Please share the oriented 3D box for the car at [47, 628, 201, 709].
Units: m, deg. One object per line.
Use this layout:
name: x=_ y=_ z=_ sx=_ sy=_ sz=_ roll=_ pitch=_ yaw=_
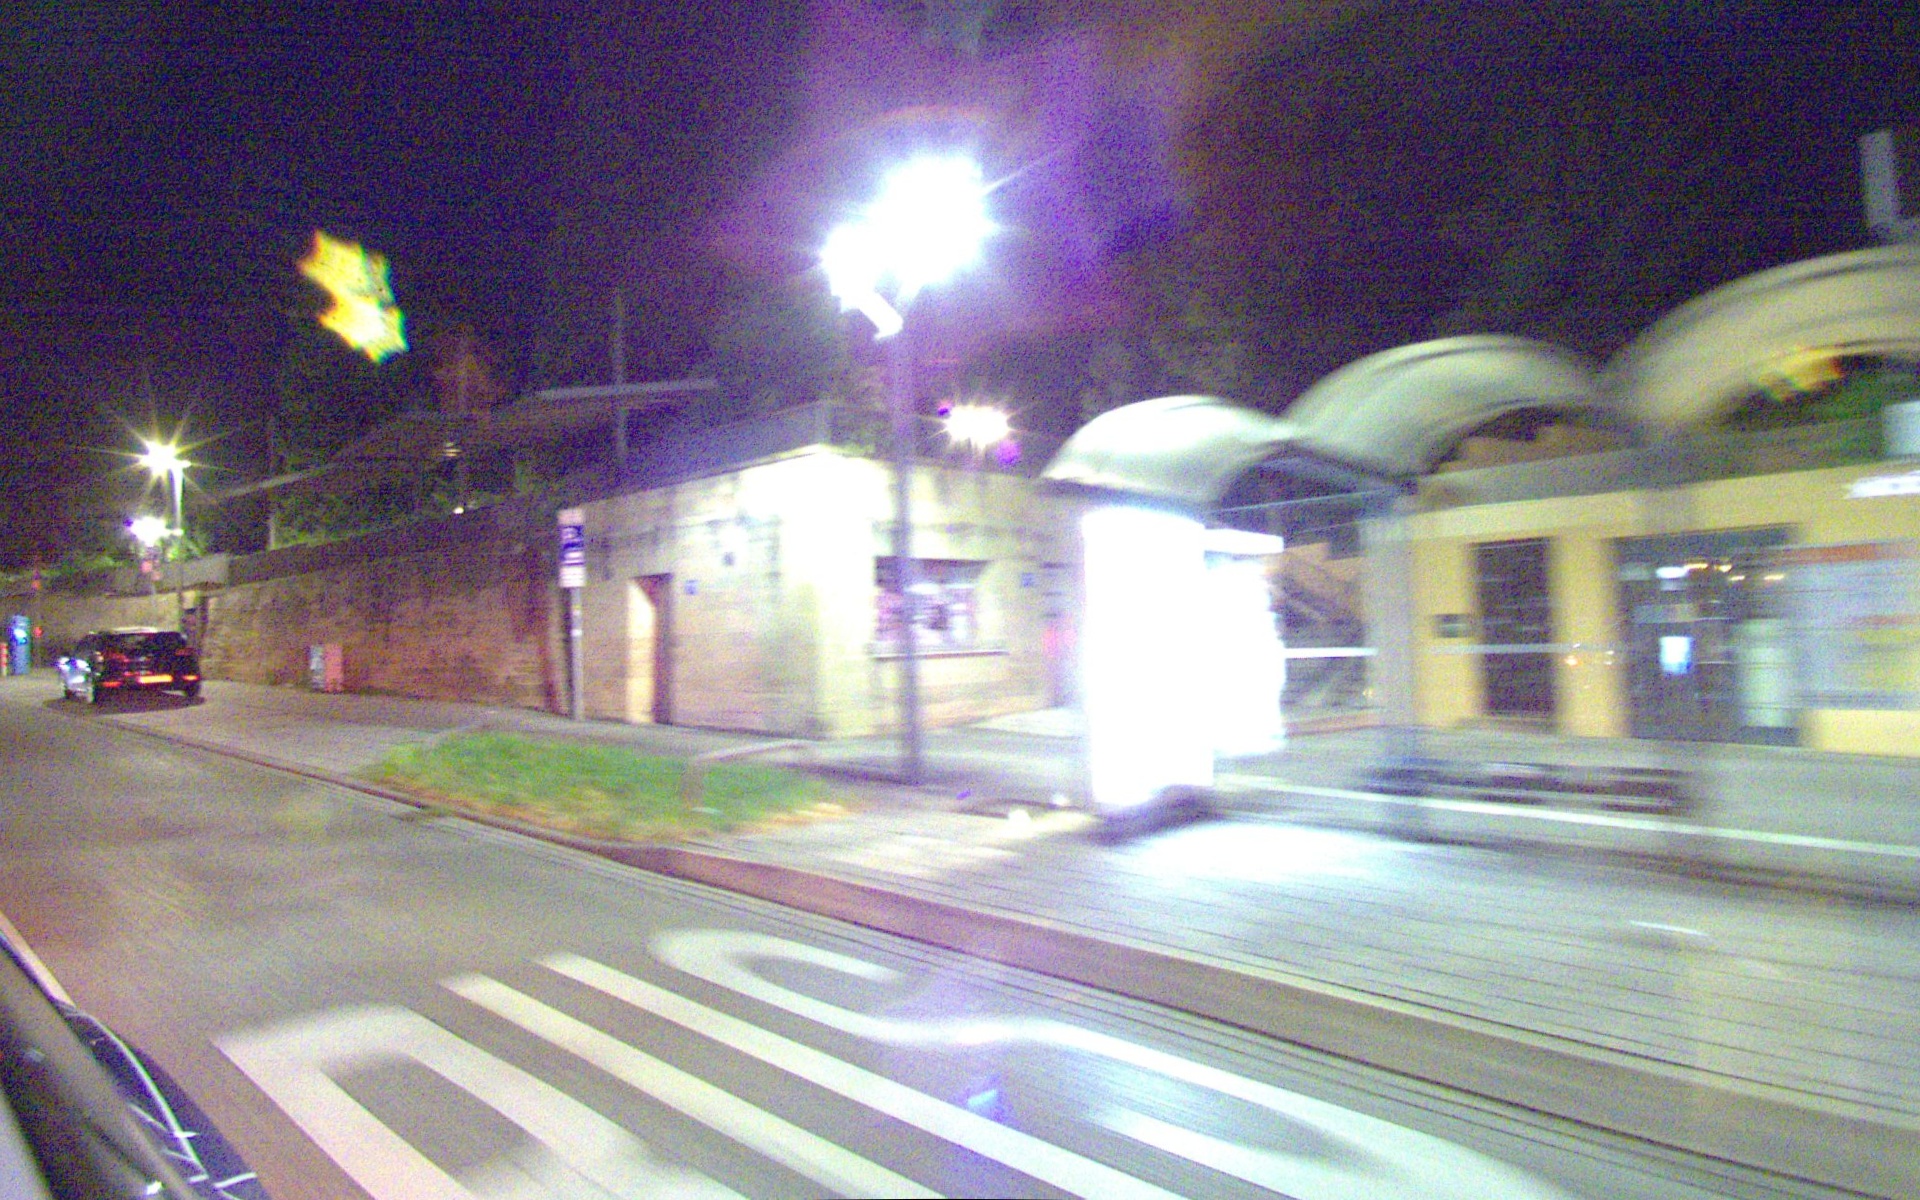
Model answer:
car: x=-17.447 y=1.357 z=21.060 sx=4.123 sy=1.447 sz=1.675 roll=-2 pitch=0 yaw=39
